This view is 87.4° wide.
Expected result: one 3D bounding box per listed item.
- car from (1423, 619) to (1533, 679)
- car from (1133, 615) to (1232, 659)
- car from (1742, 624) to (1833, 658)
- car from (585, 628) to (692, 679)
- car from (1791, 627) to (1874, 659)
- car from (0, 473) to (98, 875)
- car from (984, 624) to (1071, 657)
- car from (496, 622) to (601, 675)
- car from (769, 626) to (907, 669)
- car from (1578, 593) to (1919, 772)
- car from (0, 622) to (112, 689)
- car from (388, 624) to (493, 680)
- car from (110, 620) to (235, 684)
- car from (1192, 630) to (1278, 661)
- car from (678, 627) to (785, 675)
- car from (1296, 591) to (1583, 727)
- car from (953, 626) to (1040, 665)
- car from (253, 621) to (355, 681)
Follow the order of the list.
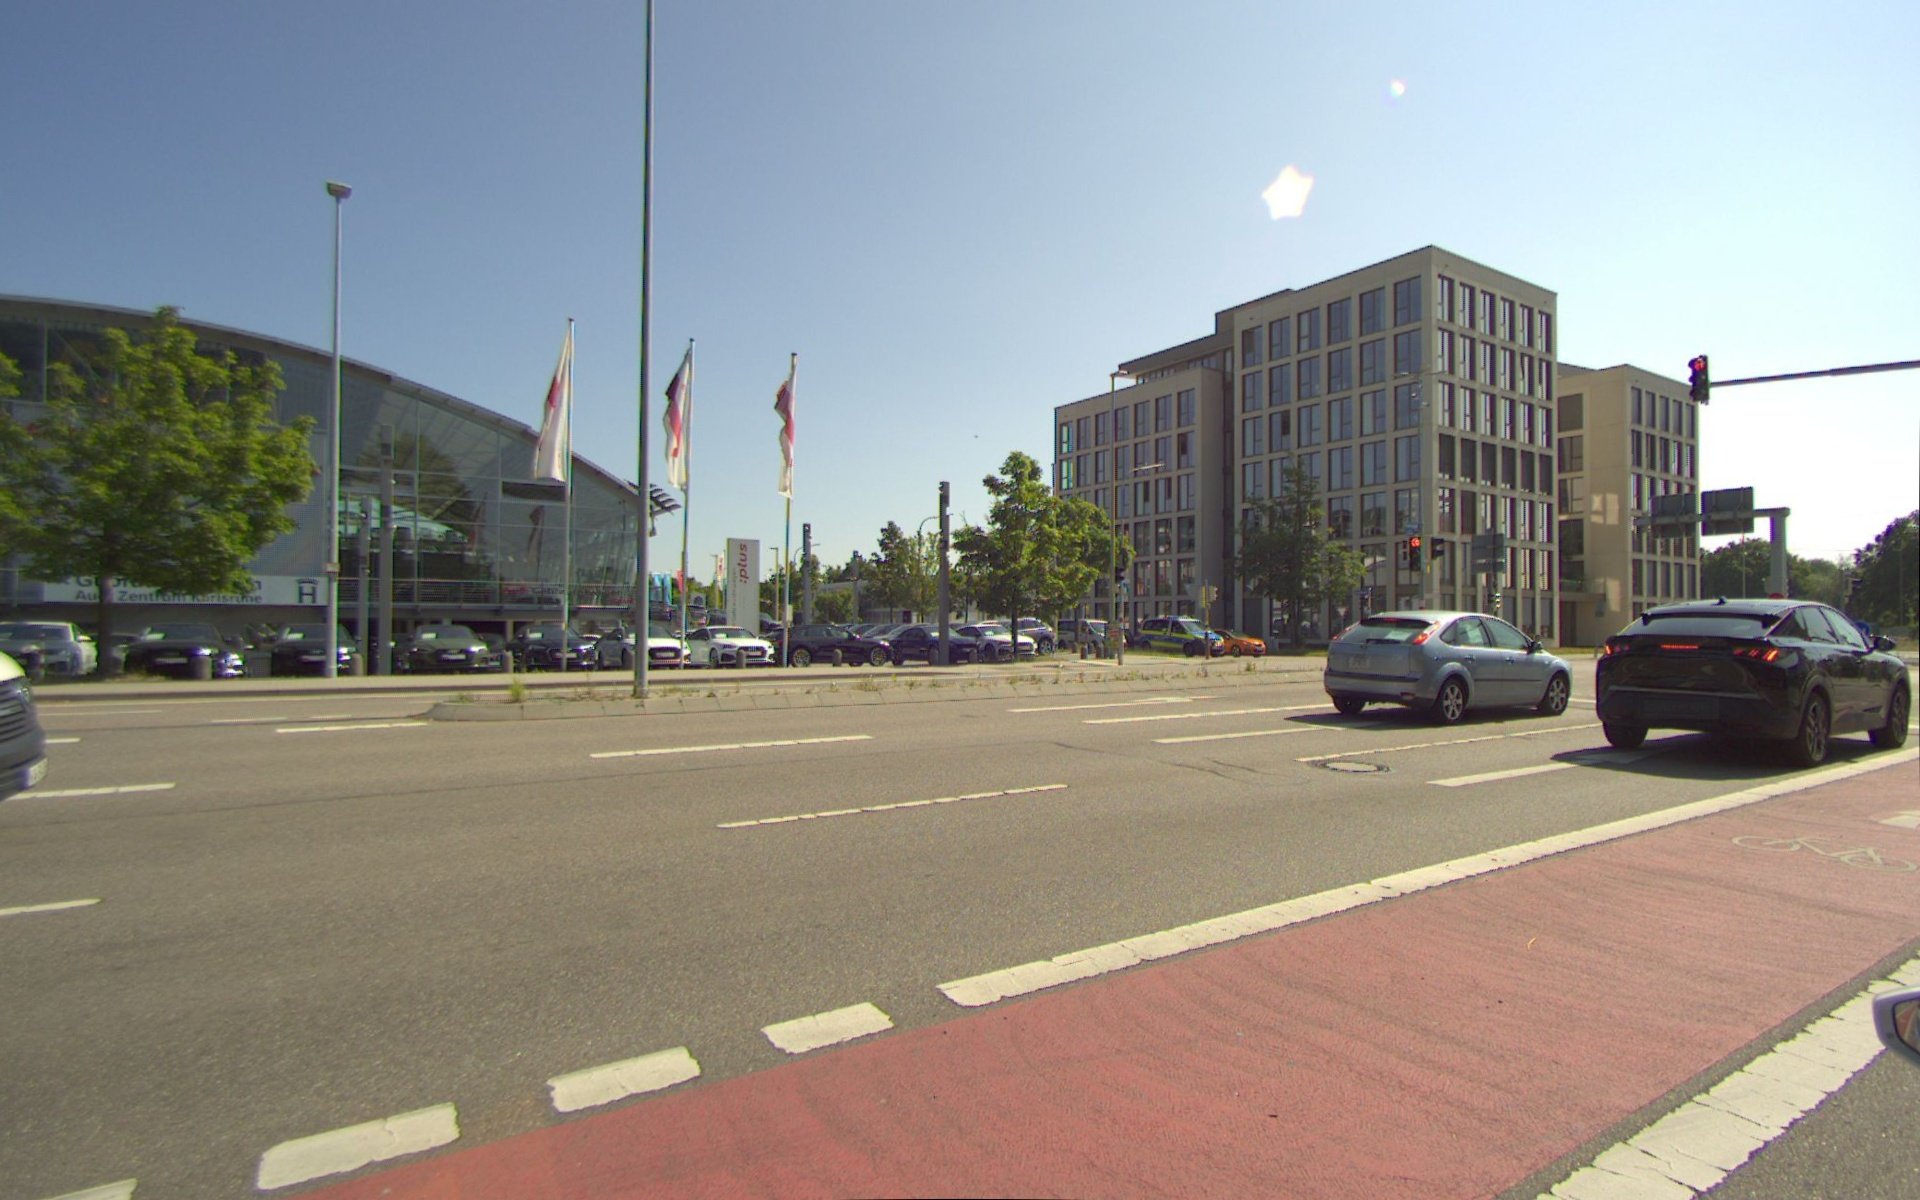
[{"bbox_3d":[12.995,1.190,25.170,2.768,1.349,1.208,-1,1,-32],"label":"car"},{"bbox_3d":[10.962,1.824,49.859,1.978,2.077,4.889,1,-2,-31],"label":"car"},{"bbox_3d":[36.935,1.811,44.833,3.951,1.483,1.808,1,-2,-29],"label":"car"},{"bbox_3d":[-9.506,1.526,29.511,1.979,1.361,3.963,1,-2,-34],"label":"car"},{"bbox_3d":[42.282,2.072,48.672,3.951,1.483,1.808,1,-2,-29],"label":"car"},{"bbox_3d":[-7.311,0.371,4.546,4.920,2.020,1.871,1,-2,-33],"label":"car"},{"bbox_3d":[2.917,1.740,43.342,3.383,1.361,1.696,1,-2,-30],"label":"car"},{"bbox_3d":[-11.557,1.325,28.094,1.979,1.361,3.963,1,-2,-34],"label":"car"},{"bbox_3d":[-4.127,1.594,34.232,4.387,1.361,1.696,1,-2,-30],"label":"car"},{"bbox_3d":[9.081,0.816,11.264,4.406,1.661,1.799,1,-2,-31],"label":"car"},{"bbox_3d":[-20.362,1.192,22.209,1.979,1.361,4.125,1,-2,-34],"label":"car"},{"bbox_3d":[-13.854,1.344,26.668,1.980,1.361,3.962,1,-2,-35],"label":"car"},{"bbox_3d":[-18.338,1.179,23.568,1.979,1.361,3.963,1,-2,-34],"label":"car"},{"bbox_3d":[13.978,2.285,51.255,1.978,1.483,3.966,1,-2,-31],"label":"car"},{"bbox_3d":[-7.138,1.538,31.166,1.979,1.361,3.963,1,-2,-34],"label":"car"},{"bbox_3d":[6.982,0.797,14.561,3.957,1.706,1.982,1,-2,-33],"label":"car"},{"bbox_3d":[1.301,1.655,36.922,1.626,1.361,3.396,1,-2,-30],"label":"car"},{"bbox_3d":[-16.258,1.228,24.911,1.979,1.361,3.963,1,-2,-34],"label":"car"}]
